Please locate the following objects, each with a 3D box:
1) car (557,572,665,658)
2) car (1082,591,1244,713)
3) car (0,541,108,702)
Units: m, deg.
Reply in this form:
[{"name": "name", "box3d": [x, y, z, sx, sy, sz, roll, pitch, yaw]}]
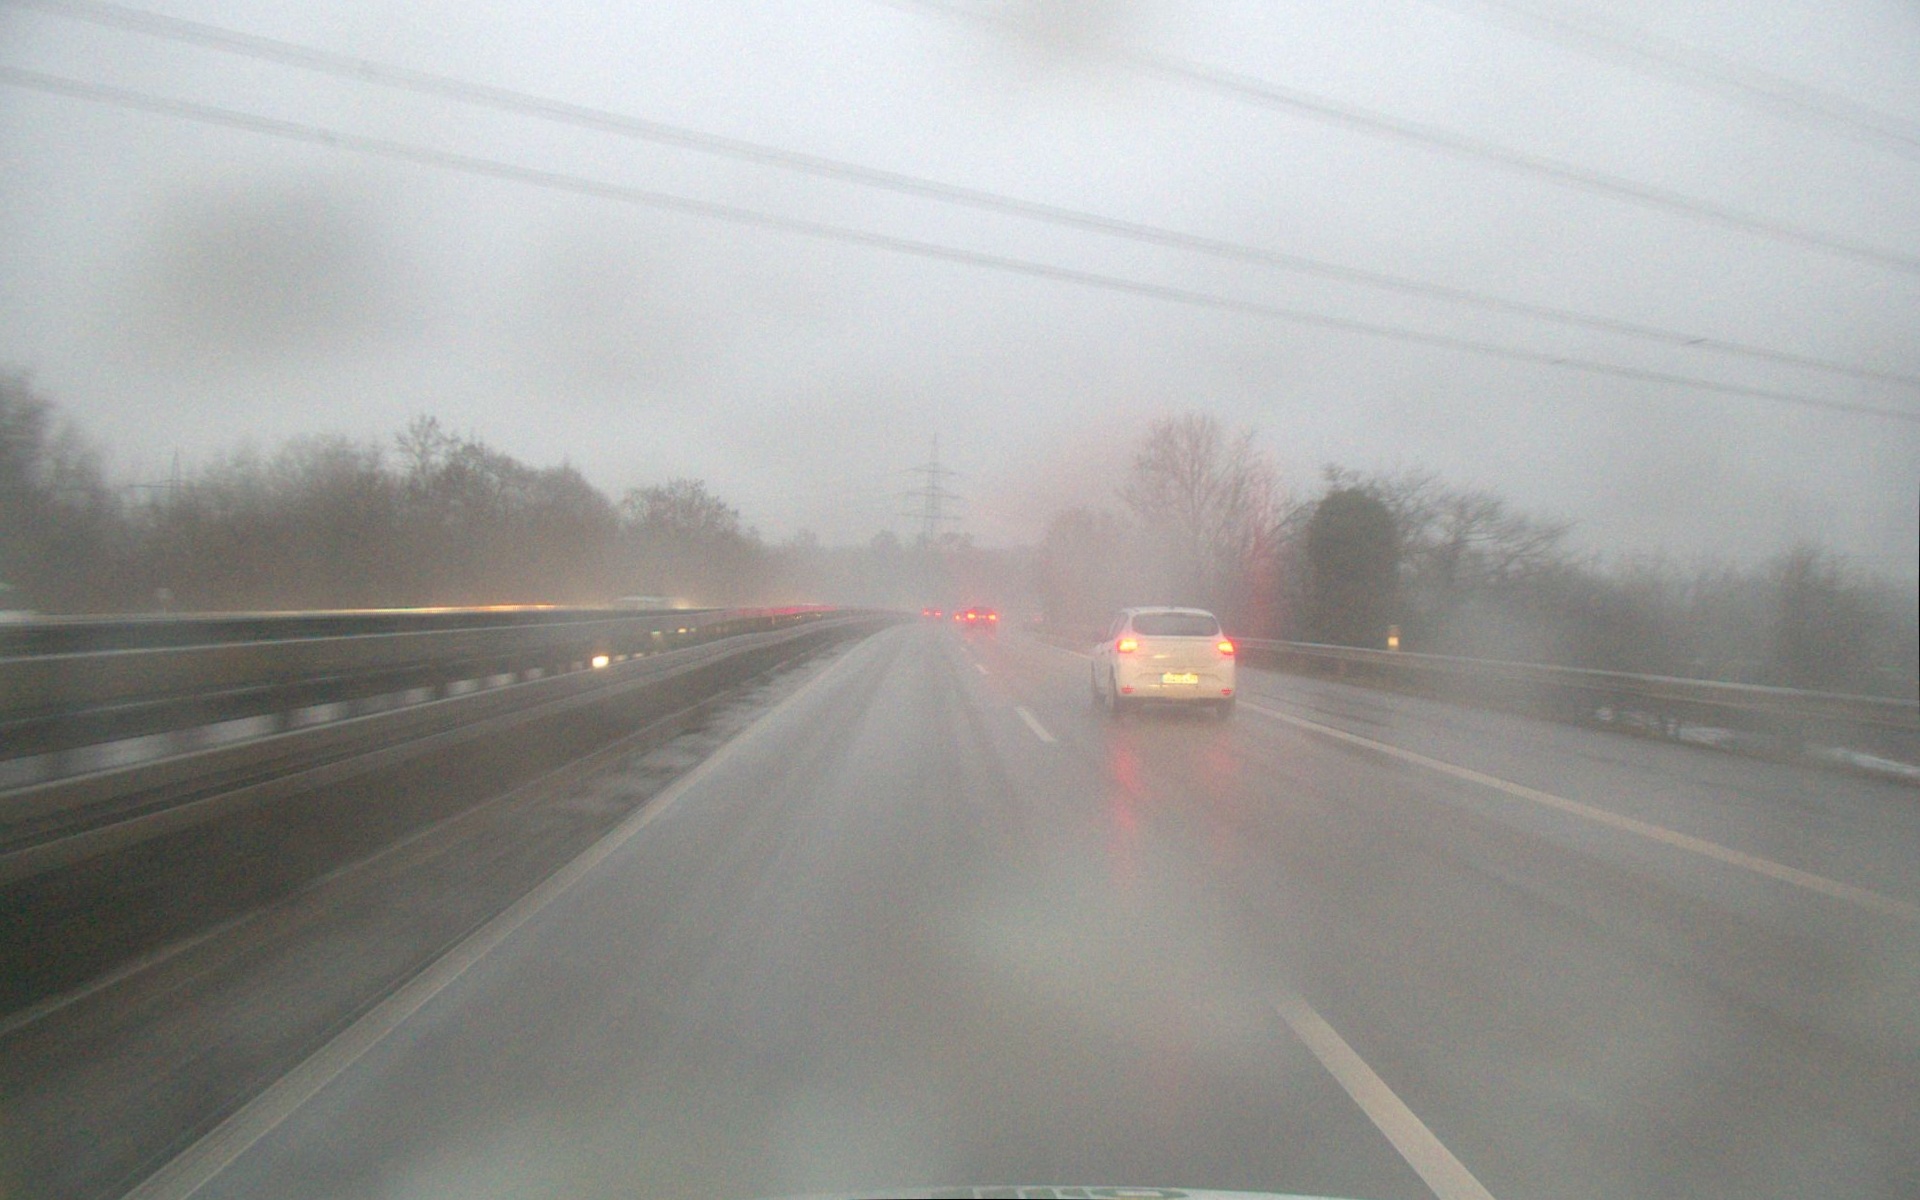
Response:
[{"name": "car", "box3d": [-8.831, 0.360, 42.189, 1.953, 2.049, 3.999, 1, 0, -1]}, {"name": "car", "box3d": [2.941, 0.713, 24.717, 1.808, 1.664, 3.766, 1, 0, -2]}, {"name": "car", "box3d": [-11.924, 0.225, 18.716, 2.120, 1.823, 4.808, 1, 0, -1]}]
